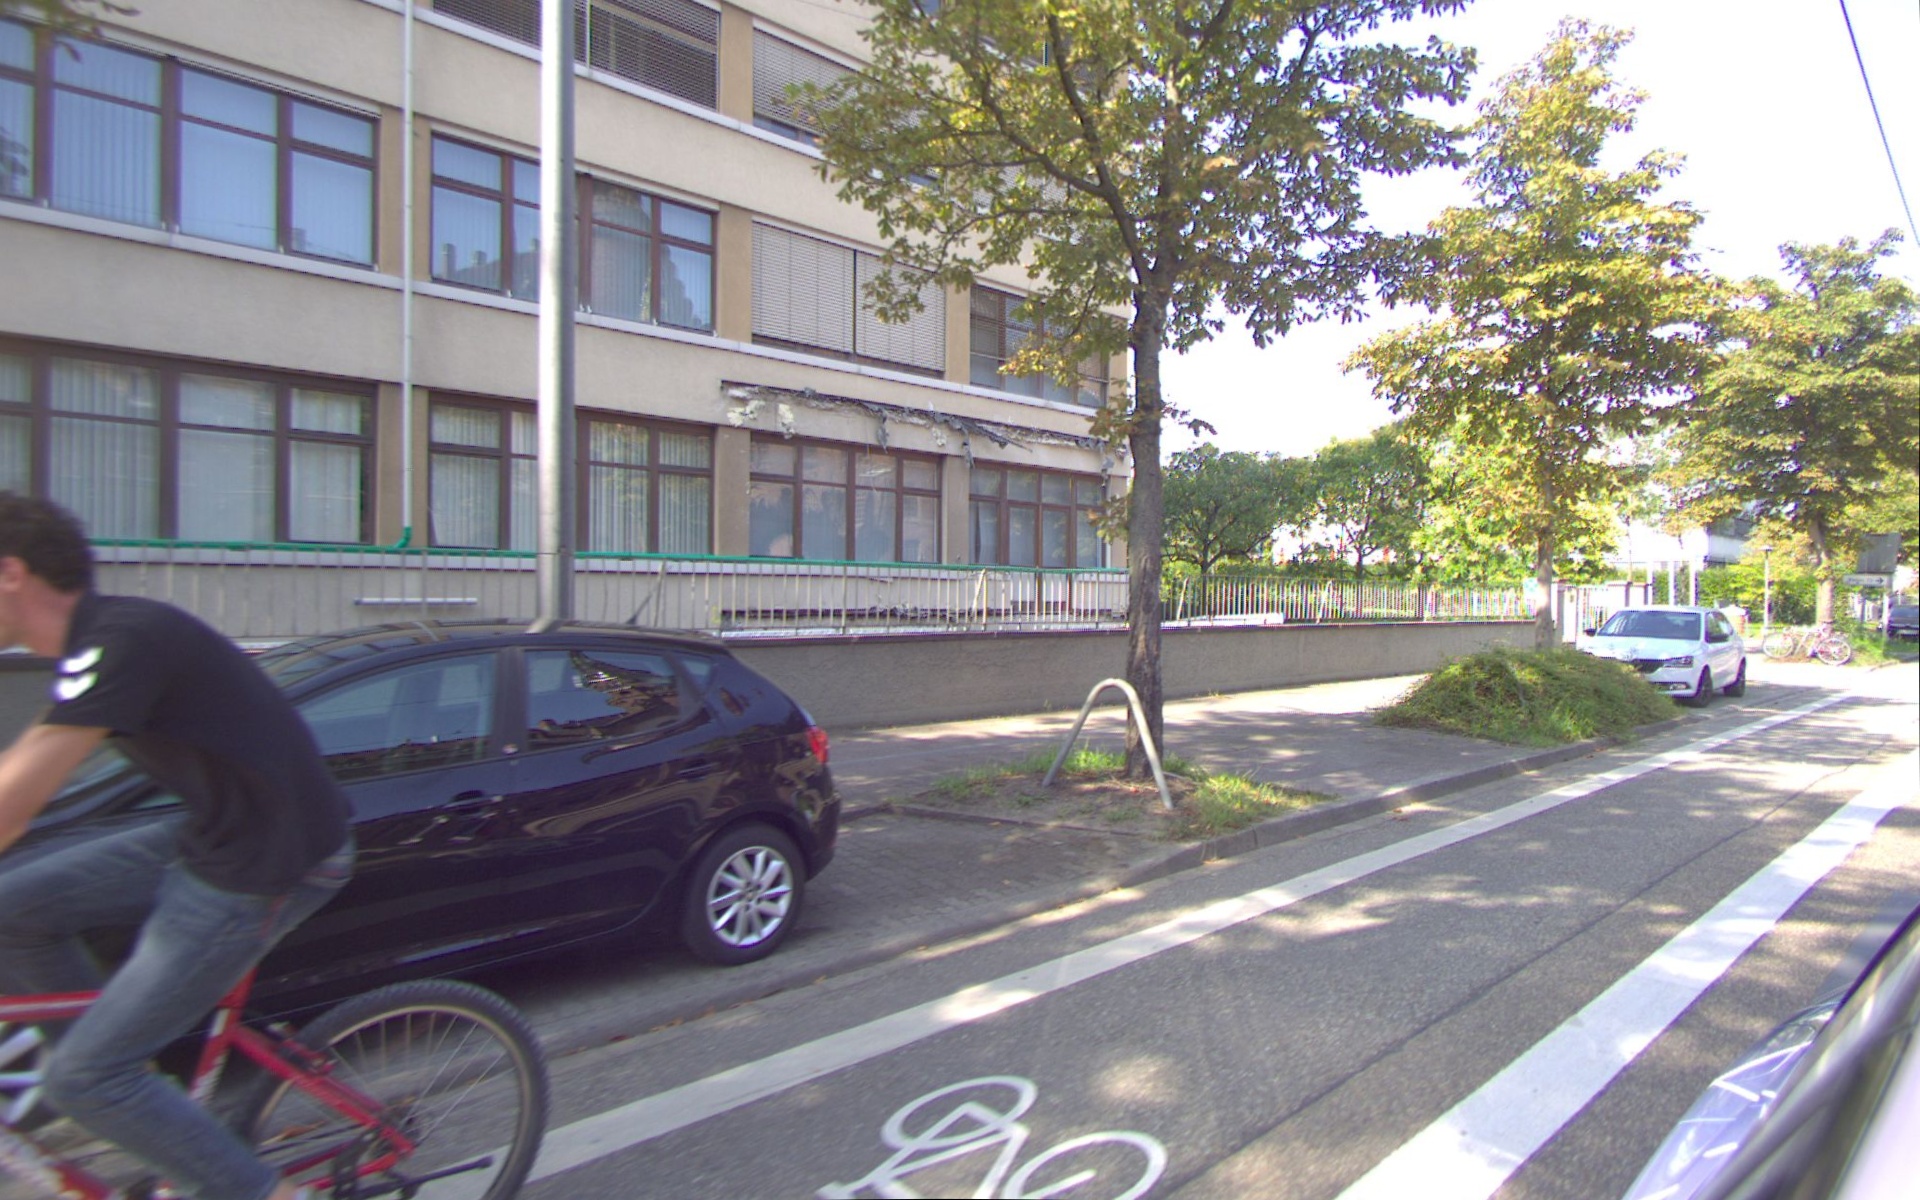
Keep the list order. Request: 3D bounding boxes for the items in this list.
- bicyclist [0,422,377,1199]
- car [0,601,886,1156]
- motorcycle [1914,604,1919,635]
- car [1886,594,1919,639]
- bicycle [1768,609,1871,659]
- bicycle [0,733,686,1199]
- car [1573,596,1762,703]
[{"bbox_3d":[-1.700,0.482,1.751,1.096,1.488,0.789,0,0,-39],"label":"bicyclist"},{"bbox_3d":[-2.393,0.758,4.020,4.014,1.446,1.649,0,2,-42],"label":"car"},{"bbox_3d":[39.439,0.787,40.366,0.632,1.240,1.993,0,0,-15],"label":"motorcycle"},{"bbox_3d":[34.166,0.600,35.721,4.361,1.504,1.743,1,1,-42],"label":"car"},{"bbox_3d":[20.567,0.796,24.247,0.782,1.077,1.771,0,2,-42],"label":"bicycle"},{"bbox_3d":[-1.702,0.949,1.740,2.263,1.159,0.788,0,0,-39],"label":"bicycle"},{"bbox_3d":[11.283,0.687,16.043,3.921,1.448,1.642,0,1,-43],"label":"car"}]
